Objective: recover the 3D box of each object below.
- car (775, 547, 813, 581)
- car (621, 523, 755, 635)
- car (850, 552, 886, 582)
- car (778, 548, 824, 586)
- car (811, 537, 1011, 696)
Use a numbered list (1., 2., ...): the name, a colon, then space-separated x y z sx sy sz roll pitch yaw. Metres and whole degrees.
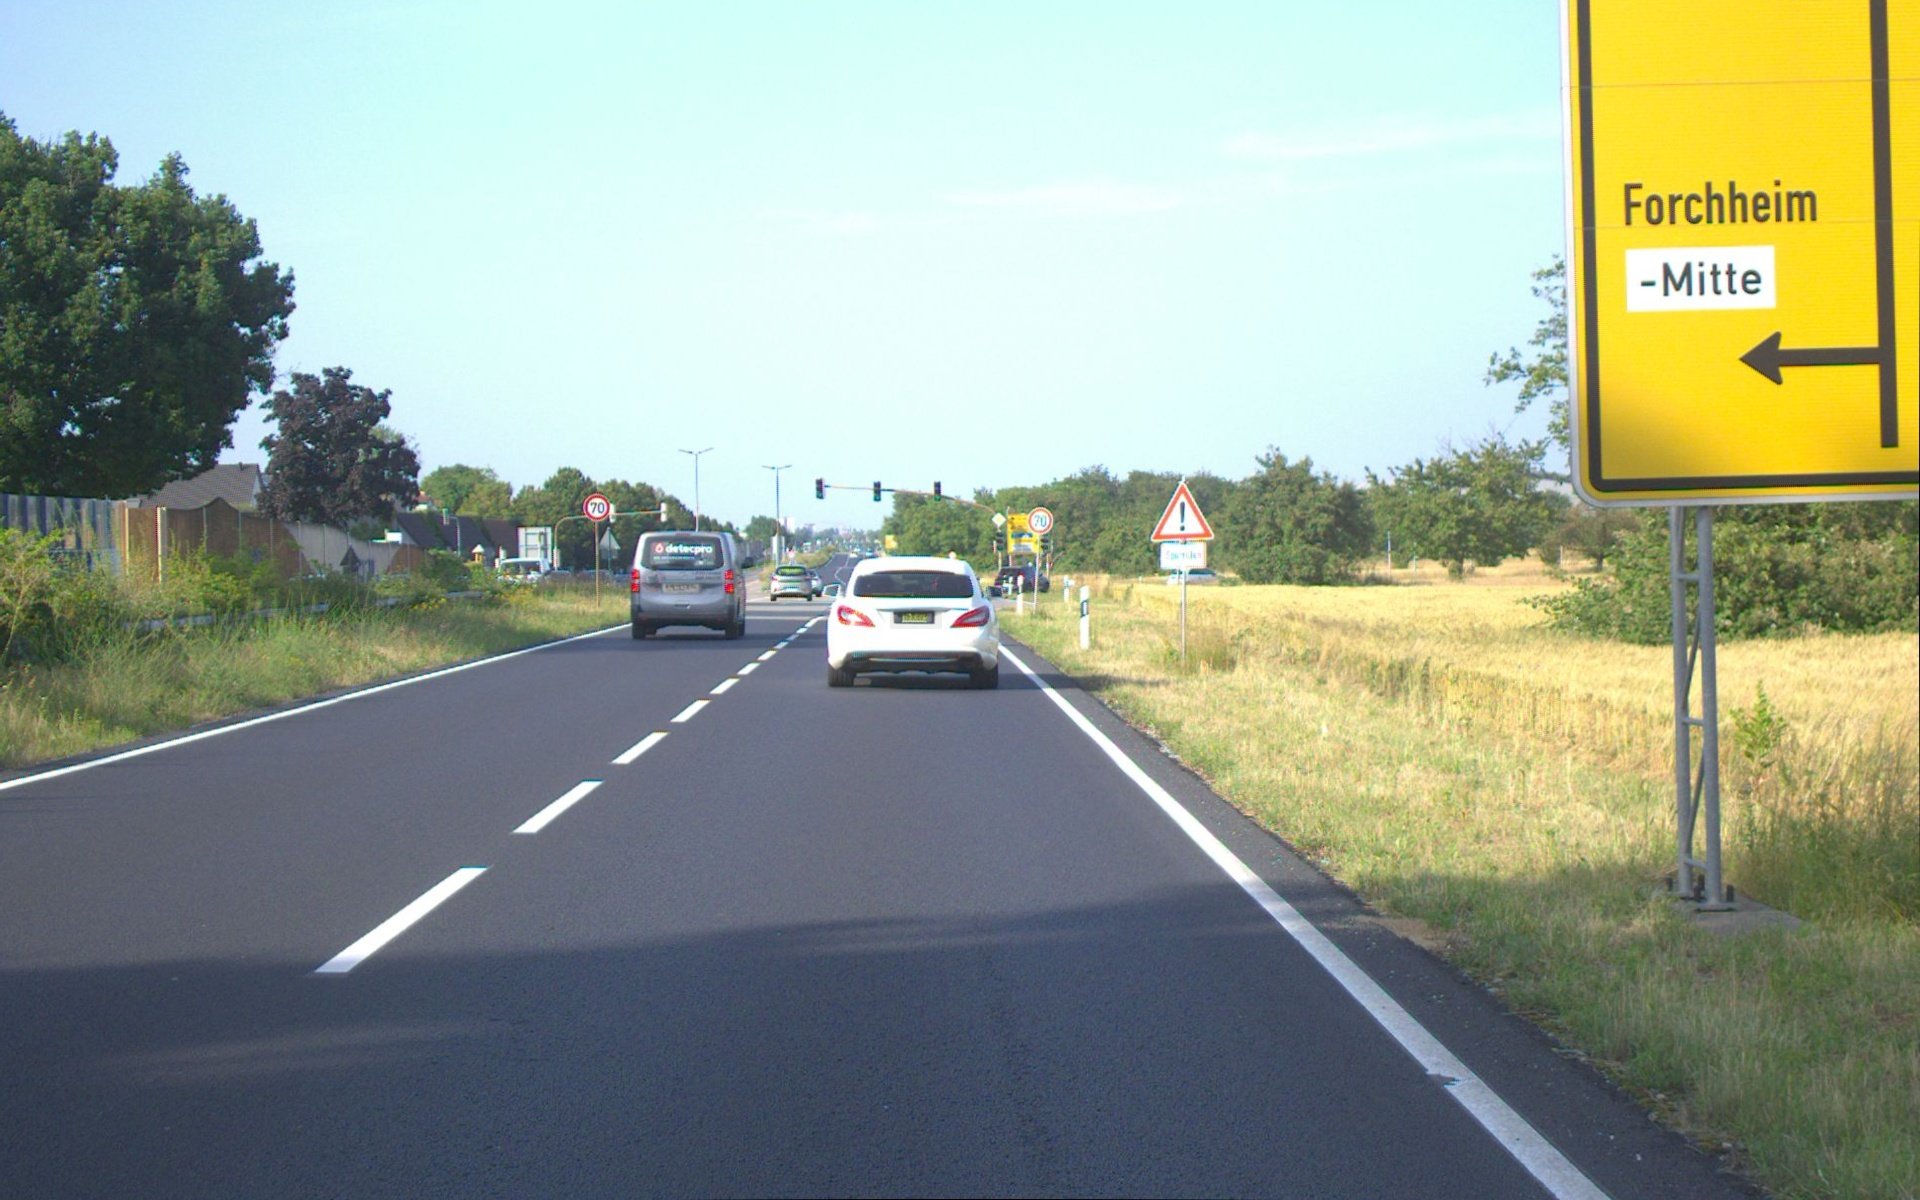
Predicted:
1. car: -8.411 -1.818 174.002 1.775 1.660 3.664 1 1 -5
2. car: -4.790 -0.415 61.168 2.025 1.885 4.959 1 1 -1
3. car: -5.184 -1.884 194.423 1.839 1.678 4.000 1 1 1
4. car: -6.447 -1.337 139.810 1.717 1.487 3.585 1 1 -1
5. car: -0.517 0.133 34.537 1.894 1.503 4.000 0 1 -2
